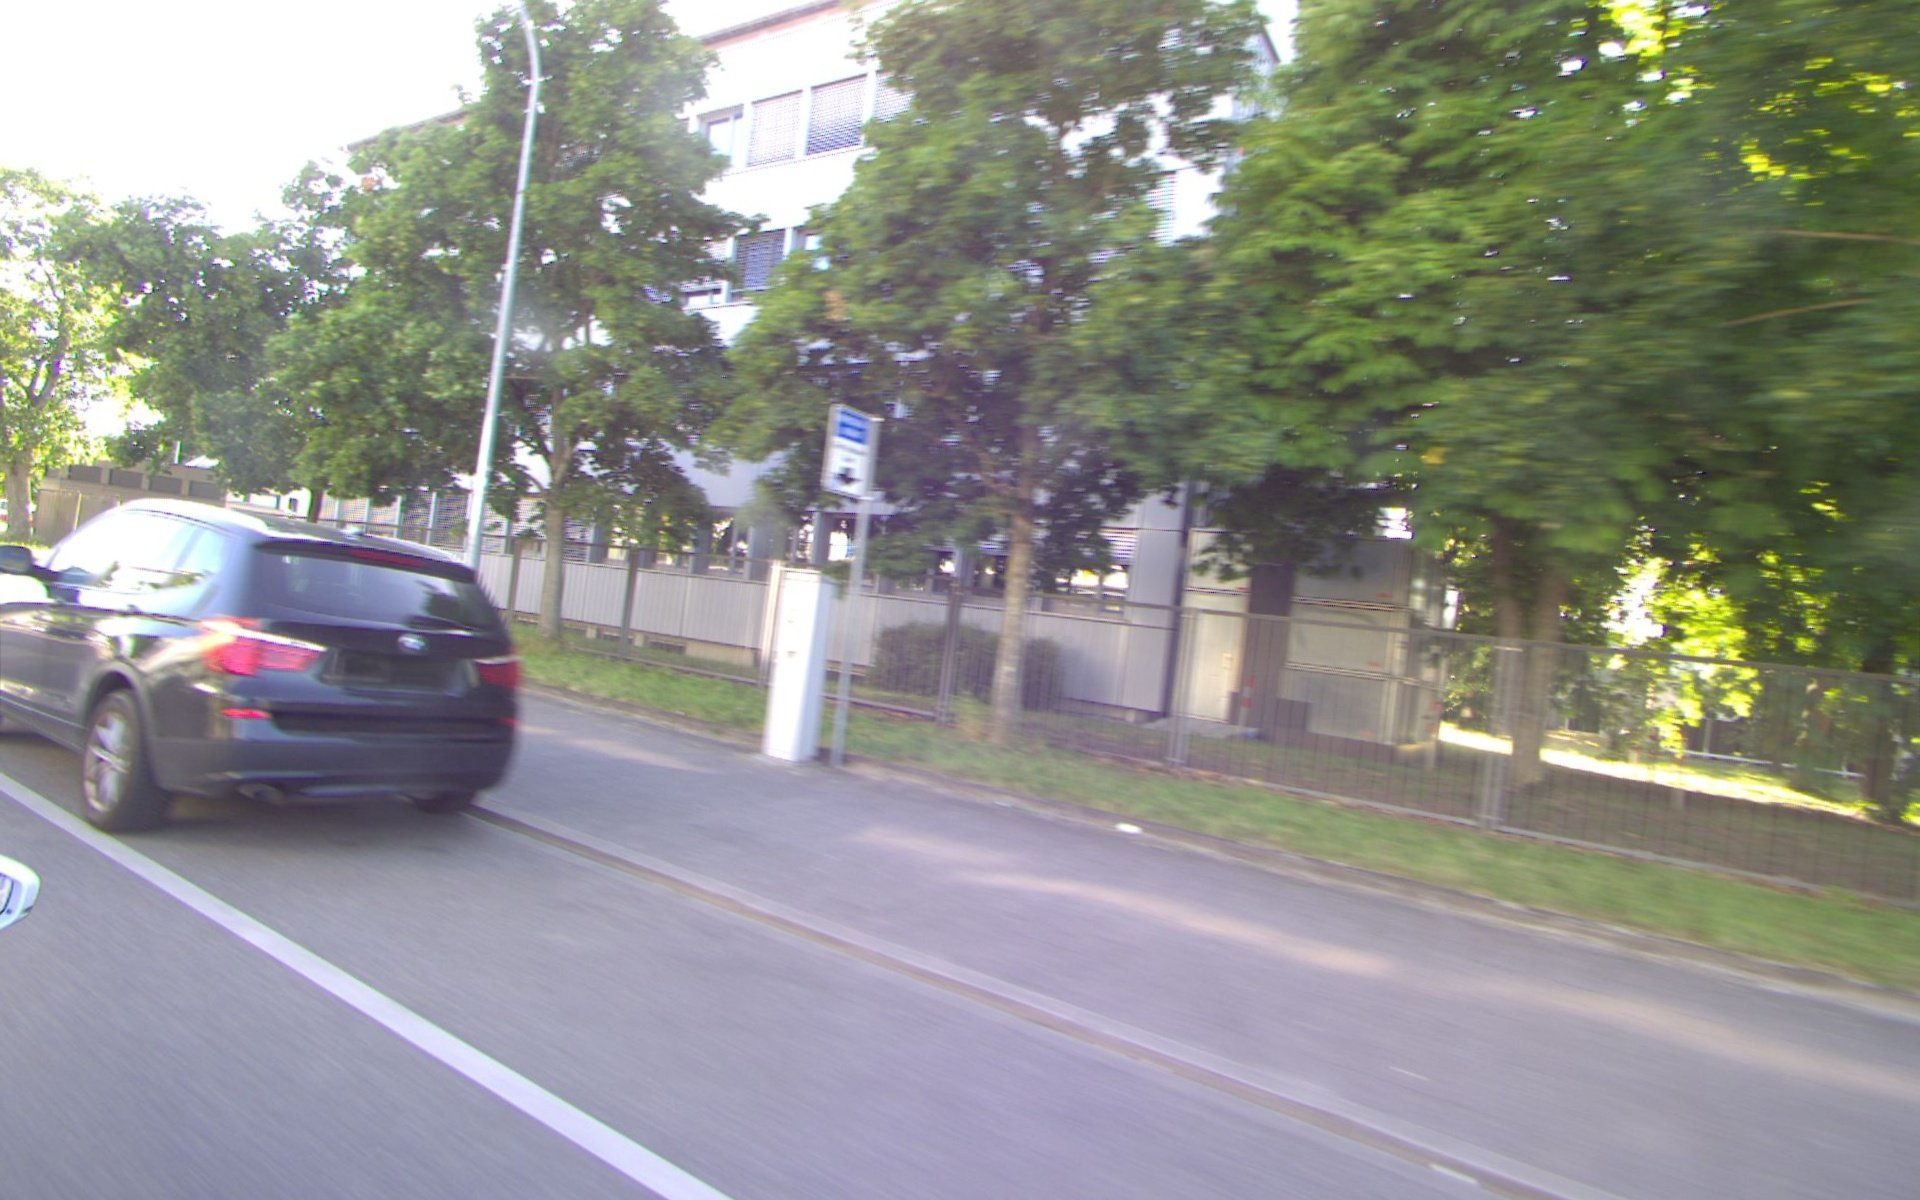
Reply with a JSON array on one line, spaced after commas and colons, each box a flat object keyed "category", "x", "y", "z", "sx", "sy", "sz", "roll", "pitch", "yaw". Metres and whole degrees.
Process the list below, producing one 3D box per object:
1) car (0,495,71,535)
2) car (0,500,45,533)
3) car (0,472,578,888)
[{"category": "car", "x": -62.759, "y": -5.720, "z": 67.585, "sx": 1.965, "sy": 2.036, "sz": 3.998, "roll": 5, "pitch": -3, "yaw": 28}, {"category": "car", "x": -70.208, "y": -6.278, "z": 73.830, "sx": 1.967, "sy": 2.036, "sz": 3.996, "roll": 5, "pitch": -3, "yaw": 30}, {"category": "car", "x": -4.689, "y": 0.269, "z": 6.329, "sx": 4.518, "sy": 1.685, "sz": 1.815, "roll": 7, "pitch": -2, "yaw": 34}]
